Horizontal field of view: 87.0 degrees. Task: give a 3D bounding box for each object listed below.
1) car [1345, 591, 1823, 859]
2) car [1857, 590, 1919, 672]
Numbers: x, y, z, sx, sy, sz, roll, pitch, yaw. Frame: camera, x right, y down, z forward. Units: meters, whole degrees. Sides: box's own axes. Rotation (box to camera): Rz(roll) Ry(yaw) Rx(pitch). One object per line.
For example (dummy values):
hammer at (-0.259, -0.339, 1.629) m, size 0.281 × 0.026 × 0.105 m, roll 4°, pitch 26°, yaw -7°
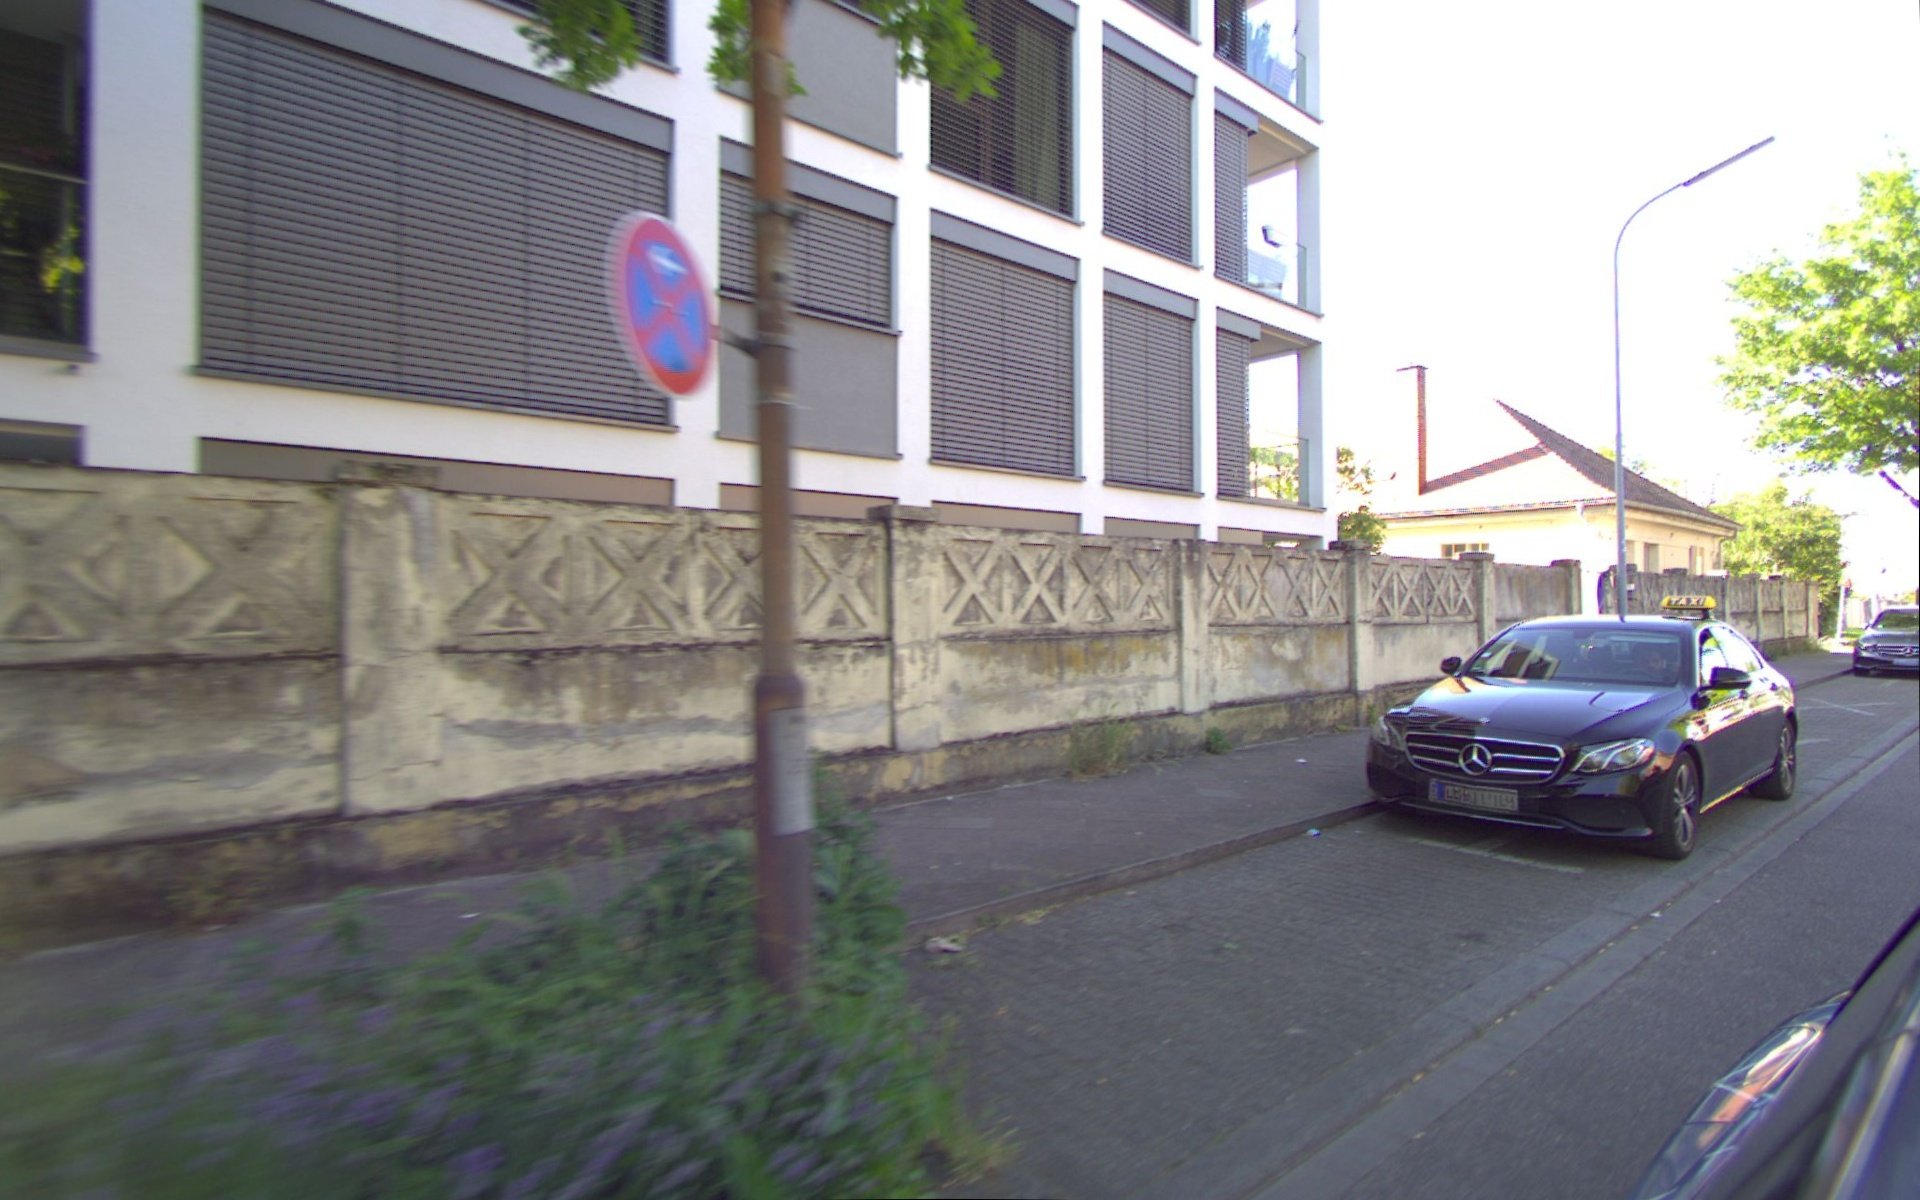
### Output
car at (4.892, 0.684, 7.604) m, size 4.679 × 1.429 × 1.723 m, roll 0°, pitch -1°, yaw -41°
car at (20.593, 0.615, 21.387) m, size 4.223 × 1.622 × 1.886 m, roll 0°, pitch -1°, yaw -41°
